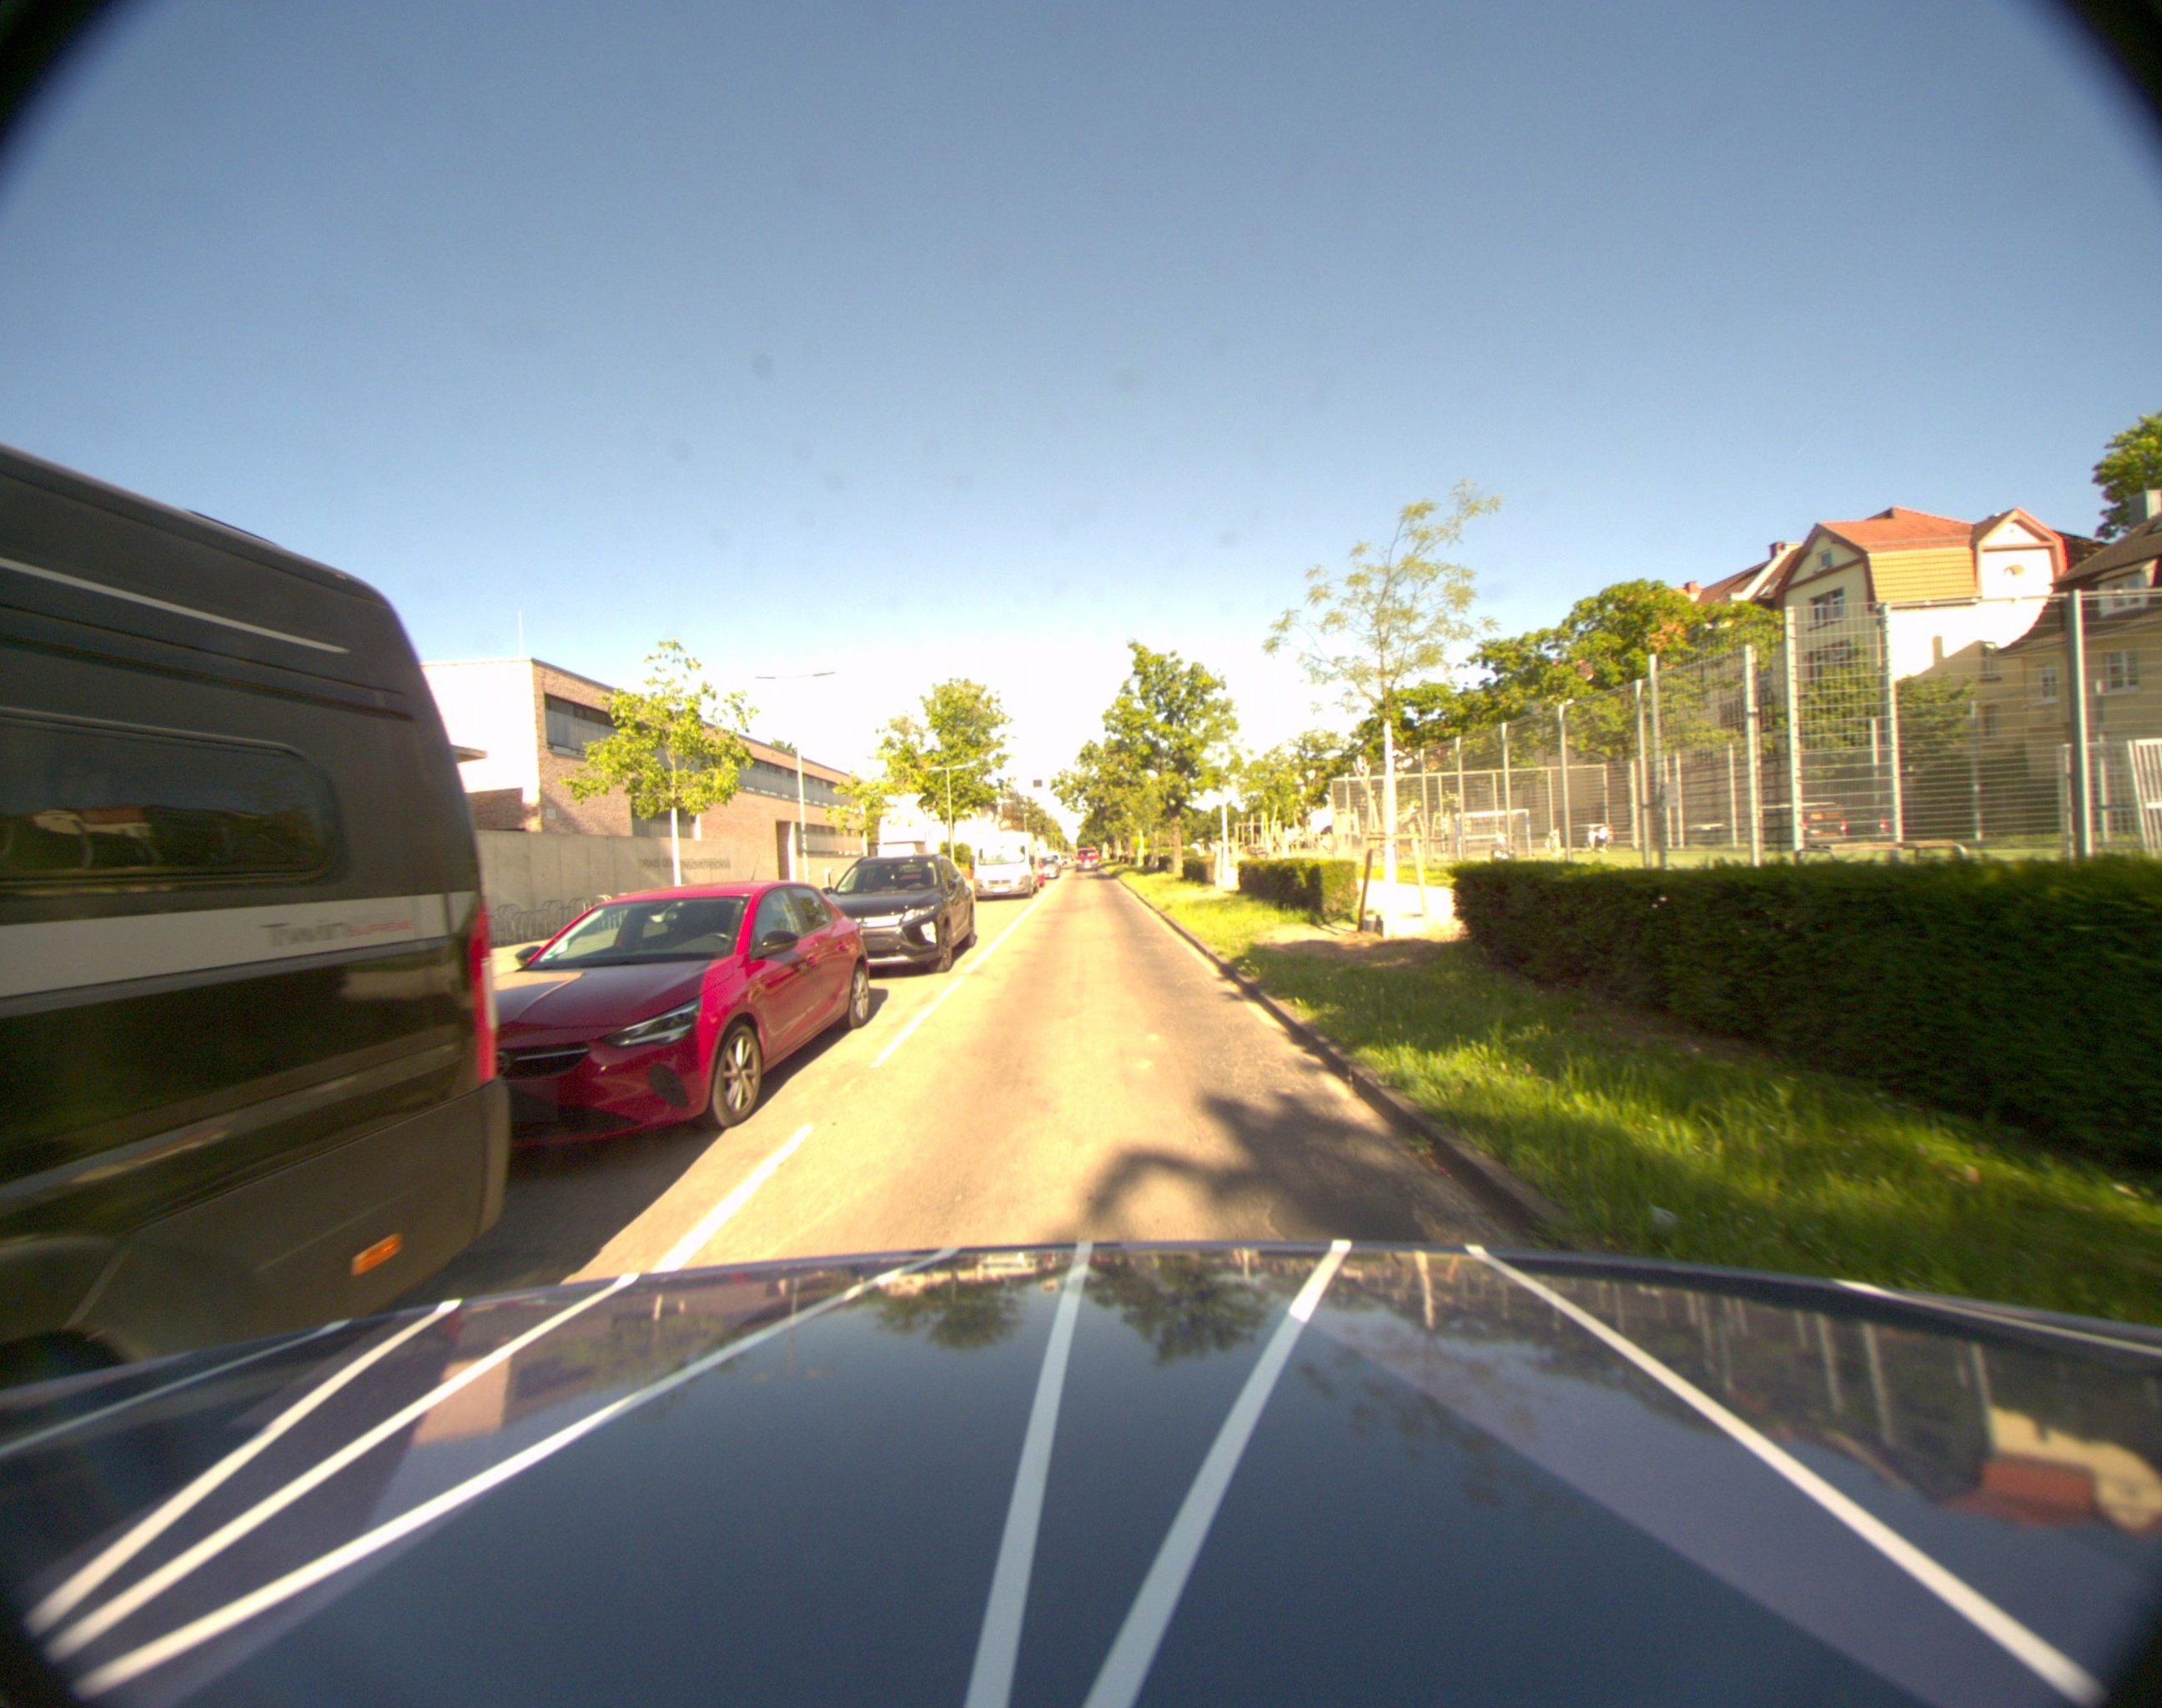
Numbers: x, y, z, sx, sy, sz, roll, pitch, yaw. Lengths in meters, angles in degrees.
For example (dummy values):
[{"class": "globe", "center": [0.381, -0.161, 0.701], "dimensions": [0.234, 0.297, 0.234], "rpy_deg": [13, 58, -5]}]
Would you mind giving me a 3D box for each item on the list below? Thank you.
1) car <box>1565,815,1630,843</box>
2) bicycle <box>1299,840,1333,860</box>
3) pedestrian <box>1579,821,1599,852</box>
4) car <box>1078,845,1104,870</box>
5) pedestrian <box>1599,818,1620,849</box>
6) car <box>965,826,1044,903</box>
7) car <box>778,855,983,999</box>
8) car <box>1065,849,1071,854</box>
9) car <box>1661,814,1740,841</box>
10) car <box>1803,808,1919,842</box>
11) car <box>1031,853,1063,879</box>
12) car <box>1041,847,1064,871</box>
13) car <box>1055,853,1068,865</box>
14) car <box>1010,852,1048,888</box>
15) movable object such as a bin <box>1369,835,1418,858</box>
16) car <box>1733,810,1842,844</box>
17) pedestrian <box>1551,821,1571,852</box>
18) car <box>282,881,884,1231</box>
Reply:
[{"class": "car", "center": [40.068, -1.901, 59.104], "dimensions": [1.799, 1.971, 4.835], "rpy_deg": [-3, 0, 1]}, {"class": "bicycle", "center": [13.844, -0.237, 44.789], "dimensions": [1.799, 1.101, 0.500], "rpy_deg": [-3, 1, -1]}, {"class": "pedestrian", "center": [22.098, -0.762, 33.066], "dimensions": [0.648, 1.310, 0.651], "rpy_deg": [-3, 1, 30]}, {"class": "car", "center": [0.803, 0.267, 64.948], "dimensions": [2.092, 2.000, 4.844], "rpy_deg": [-1, 0, 0]}, {"class": "pedestrian", "center": [23.444, -0.913, 33.708], "dimensions": [0.648, 1.310, 0.651], "rpy_deg": [-3, 1, 30]}, {"class": "car", "center": [-2.772, 0.338, 29.061], "dimensions": [2.246, 2.559, 5.432], "rpy_deg": [-3, 1, 1]}, {"class": "car", "center": [-2.727, 0.892, 11.505], "dimensions": [1.851, 1.631, 4.503], "rpy_deg": [-3, 1, 0]}, {"class": "car", "center": [-4.123, -0.851, 236.647], "dimensions": [1.799, 1.529, 4.000], "rpy_deg": [-3, -1, 0]}, {"class": "car", "center": [39.721, -1.648, 48.861], "dimensions": [1.799, 1.501, 4.000], "rpy_deg": [-3, 0, 1]}, {"class": "car", "center": [39.865, -1.446, 38.973], "dimensions": [1.799, 1.501, 4.000], "rpy_deg": [-3, 0, 1]}, {"class": "car", "center": [-2.155, 0.764, 49.100], "dimensions": [1.705, 1.470, 4.173], "rpy_deg": [-4, 1, 1]}, {"class": "car", "center": [-2.466, 0.432, 66.749], "dimensions": [1.812, 1.897, 4.460], "rpy_deg": [-4, 0, -1]}, {"class": "car", "center": [-2.752, 0.659, 106.502], "dimensions": [1.664, 1.456, 4.409], "rpy_deg": [-5, 1, -3]}, {"class": "car", "center": [-2.491, 0.745, 36.926], "dimensions": [1.624, 1.579, 3.591], "rpy_deg": [-3, 0, -2]}, {"class": "movable object such as a bin", "center": [17.787, -0.425, 43.296], "dimensions": [2.337, 1.235, 1.056], "rpy_deg": [-2, 0, -3]}, {"class": "car", "center": [35.681, -1.306, 38.550], "dimensions": [1.799, 1.501, 4.000], "rpy_deg": [-3, 0, 1]}, {"class": "pedestrian", "center": [21.146, -0.781, 33.492], "dimensions": [0.648, 1.310, 0.651], "rpy_deg": [-3, 1, 30]}, {"class": "car", "center": [-2.919, 1.052, 5.655], "dimensions": [1.799, 1.447, 3.949], "rpy_deg": [-3, 1, 0]}]
